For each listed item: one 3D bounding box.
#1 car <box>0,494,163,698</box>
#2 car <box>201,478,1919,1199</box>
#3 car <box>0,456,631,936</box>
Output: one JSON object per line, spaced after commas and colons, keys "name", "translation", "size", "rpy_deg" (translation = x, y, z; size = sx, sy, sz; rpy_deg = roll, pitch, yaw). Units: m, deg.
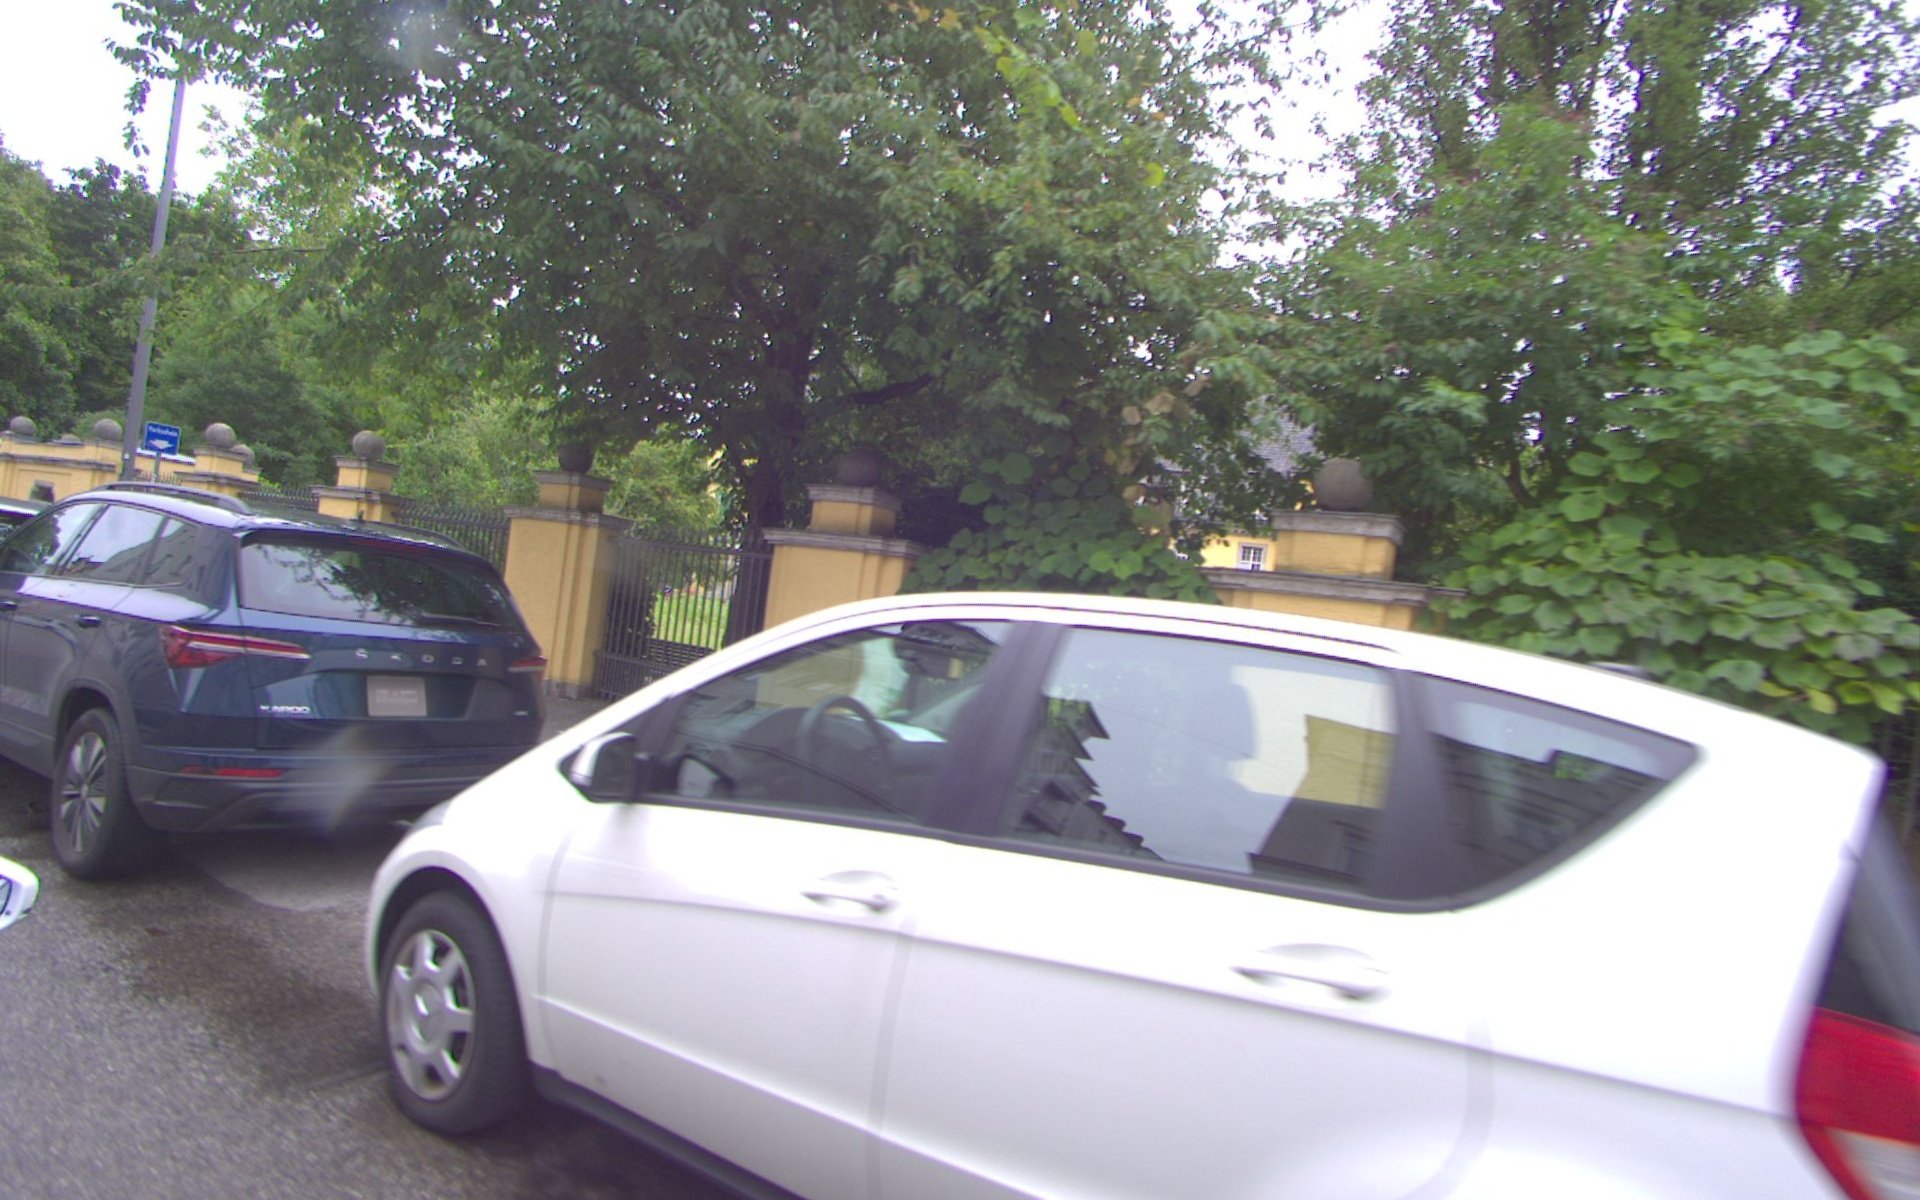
{"name": "car", "translation": [-8.625, -0.239, 8.351], "size": [4.441, 1.431, 1.694], "rpy_deg": [7, -1, 32]}
{"name": "car", "translation": [-0.141, 0.682, 2.874], "size": [4.248, 1.590, 1.715], "rpy_deg": [7, 0, 32]}
{"name": "car", "translation": [-4.080, 0.197, 5.391], "size": [4.613, 1.590, 1.715], "rpy_deg": [7, 0, 32]}
